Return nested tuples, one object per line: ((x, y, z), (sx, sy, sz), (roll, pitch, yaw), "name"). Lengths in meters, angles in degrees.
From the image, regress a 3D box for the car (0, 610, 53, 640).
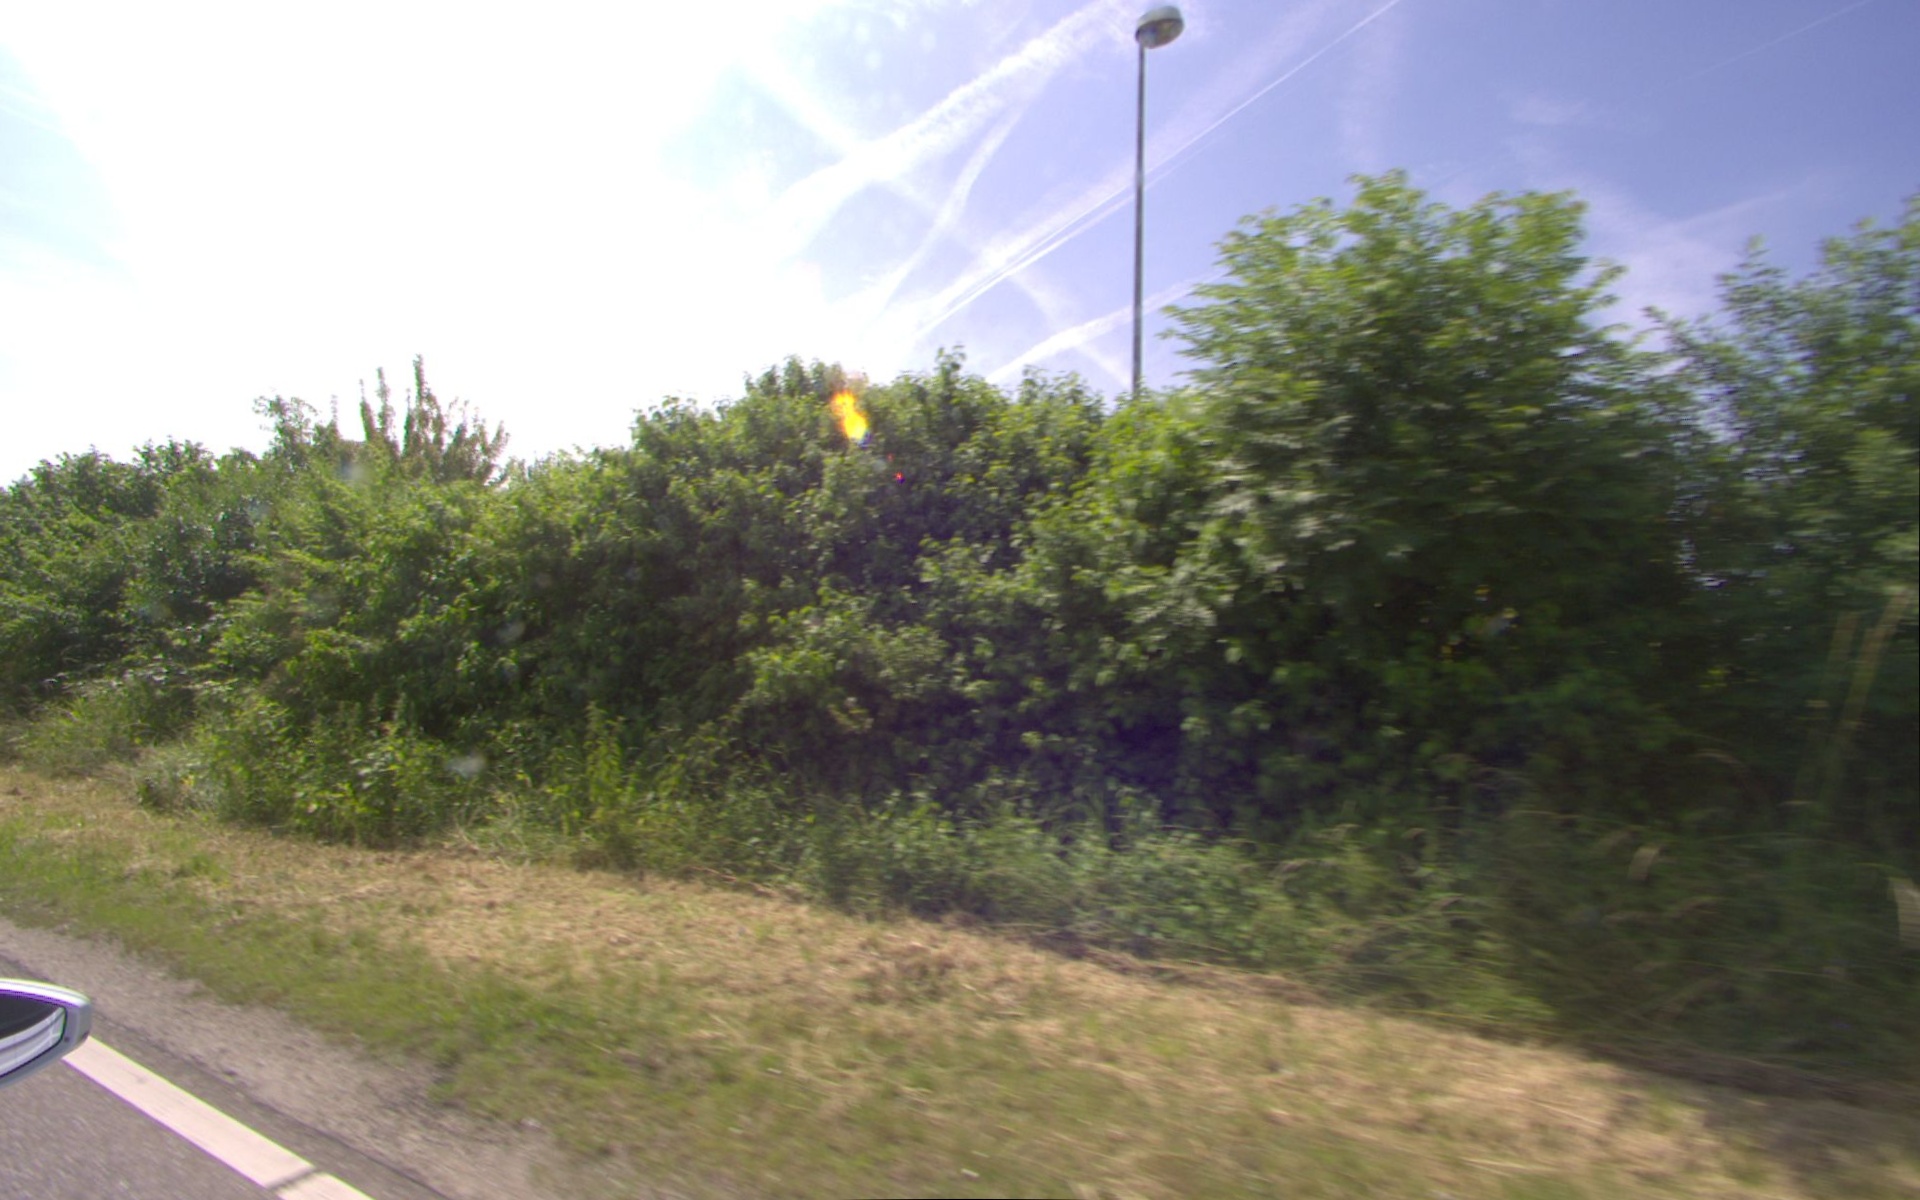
((-50.492, 1.327, 52.673), (4.073, 1.567, 1.856), (2, -3, -43), "car")
